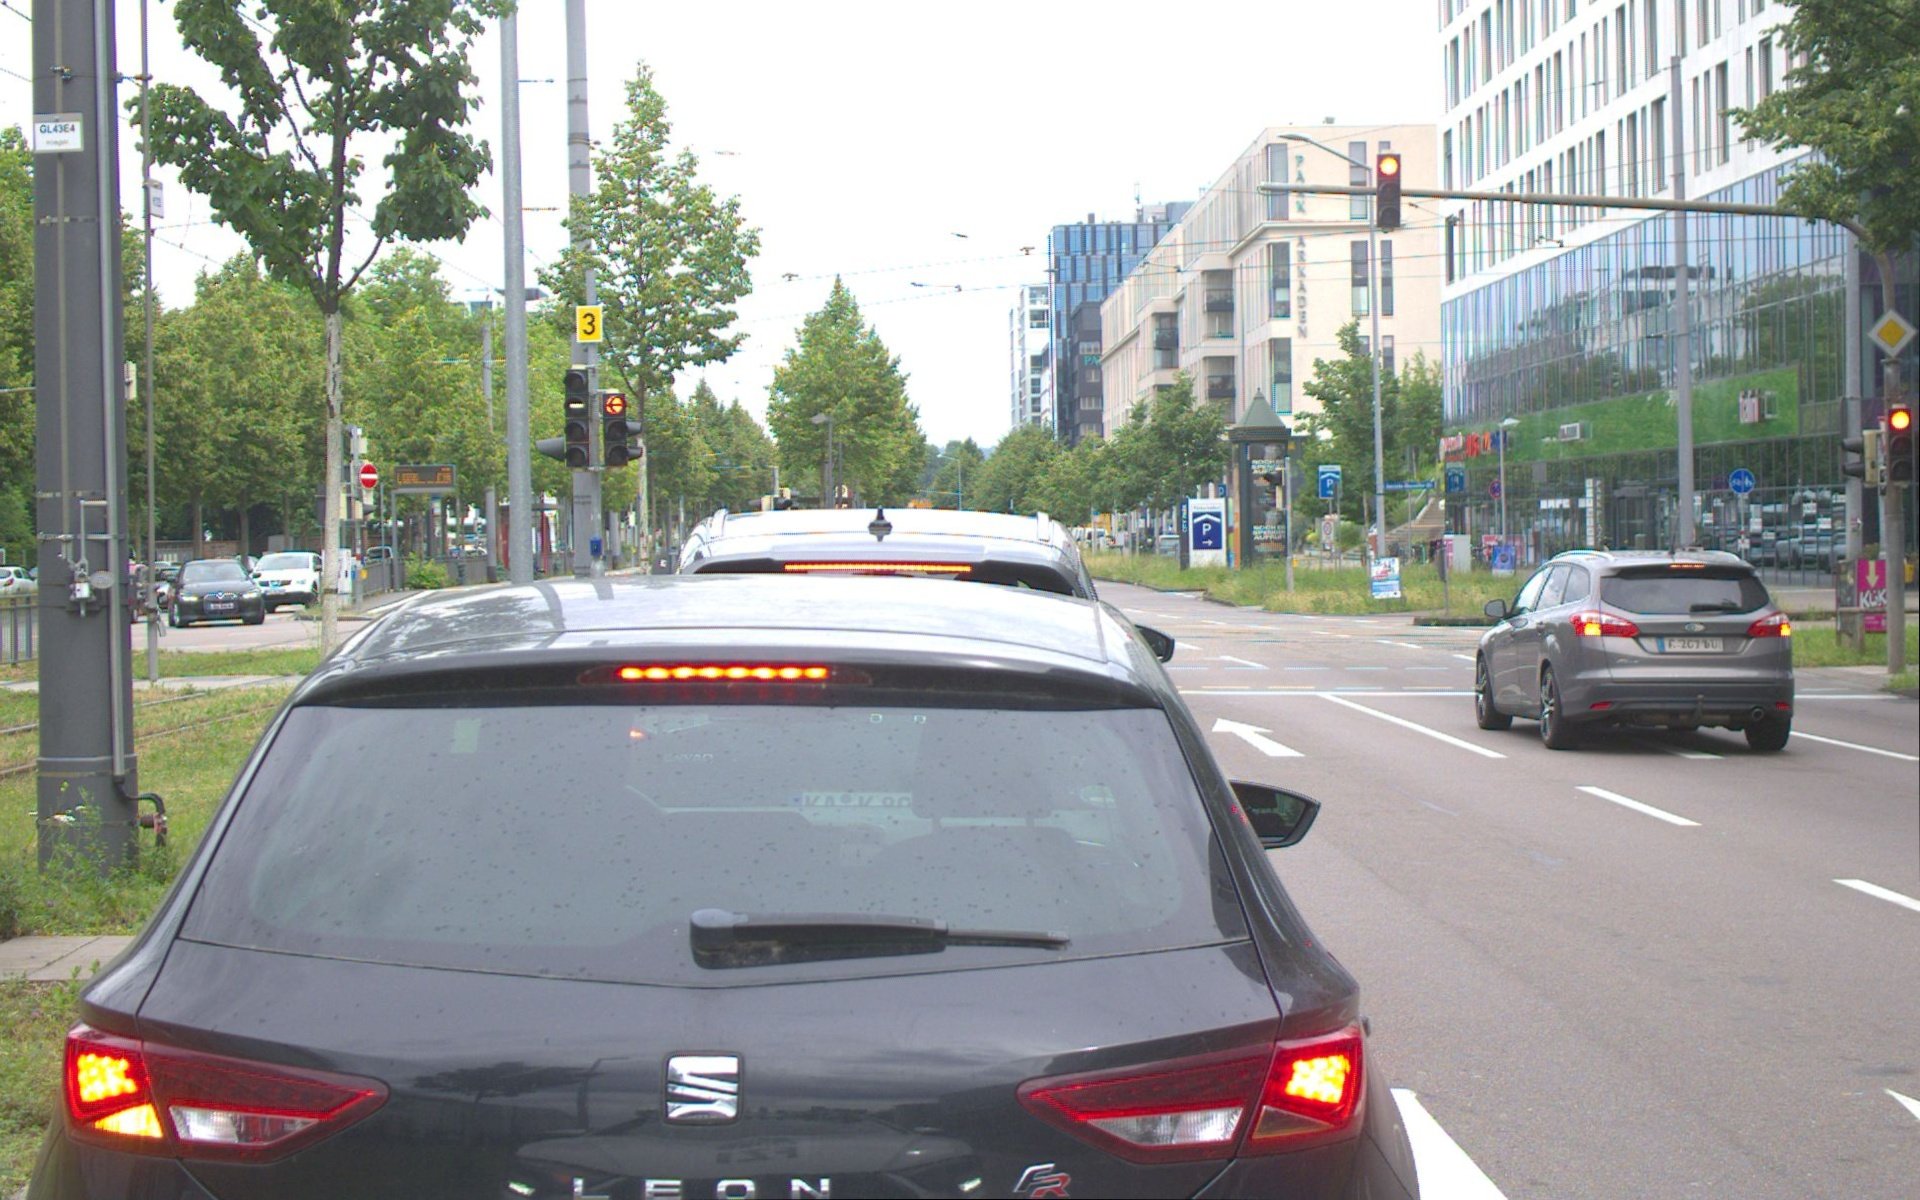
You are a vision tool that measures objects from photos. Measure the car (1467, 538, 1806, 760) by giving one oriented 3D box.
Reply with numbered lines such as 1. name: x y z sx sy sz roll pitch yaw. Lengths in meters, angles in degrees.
1. car: 5.135 0.313 26.623 1.748 1.494 4.269 0 2 0

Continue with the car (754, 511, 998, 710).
1. car: -0.689 0.040 31.138 1.993 1.676 4.000 0 1 2

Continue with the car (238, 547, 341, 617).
1. car: -17.732 -0.501 91.042 1.993 1.744 4.201 -1 1 -2

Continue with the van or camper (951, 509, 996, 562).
1. van or camper: 0.652 -3.123 165.216 2.109 2.348 4.924 0 3 0

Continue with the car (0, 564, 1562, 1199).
1. car: -0.319 0.682 5.470 1.743 1.412 4.000 0 1 -1

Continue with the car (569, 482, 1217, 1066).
1. car: -0.212 0.448 11.694 1.802 1.619 4.000 -1 1 -1

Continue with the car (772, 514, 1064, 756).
1. car: -0.237 0.198 26.078 1.994 1.676 4.000 1 1 2

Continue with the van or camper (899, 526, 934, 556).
1. van or camper: -2.567 -3.481 202.796 1.993 1.609 4.789 0 2 0
